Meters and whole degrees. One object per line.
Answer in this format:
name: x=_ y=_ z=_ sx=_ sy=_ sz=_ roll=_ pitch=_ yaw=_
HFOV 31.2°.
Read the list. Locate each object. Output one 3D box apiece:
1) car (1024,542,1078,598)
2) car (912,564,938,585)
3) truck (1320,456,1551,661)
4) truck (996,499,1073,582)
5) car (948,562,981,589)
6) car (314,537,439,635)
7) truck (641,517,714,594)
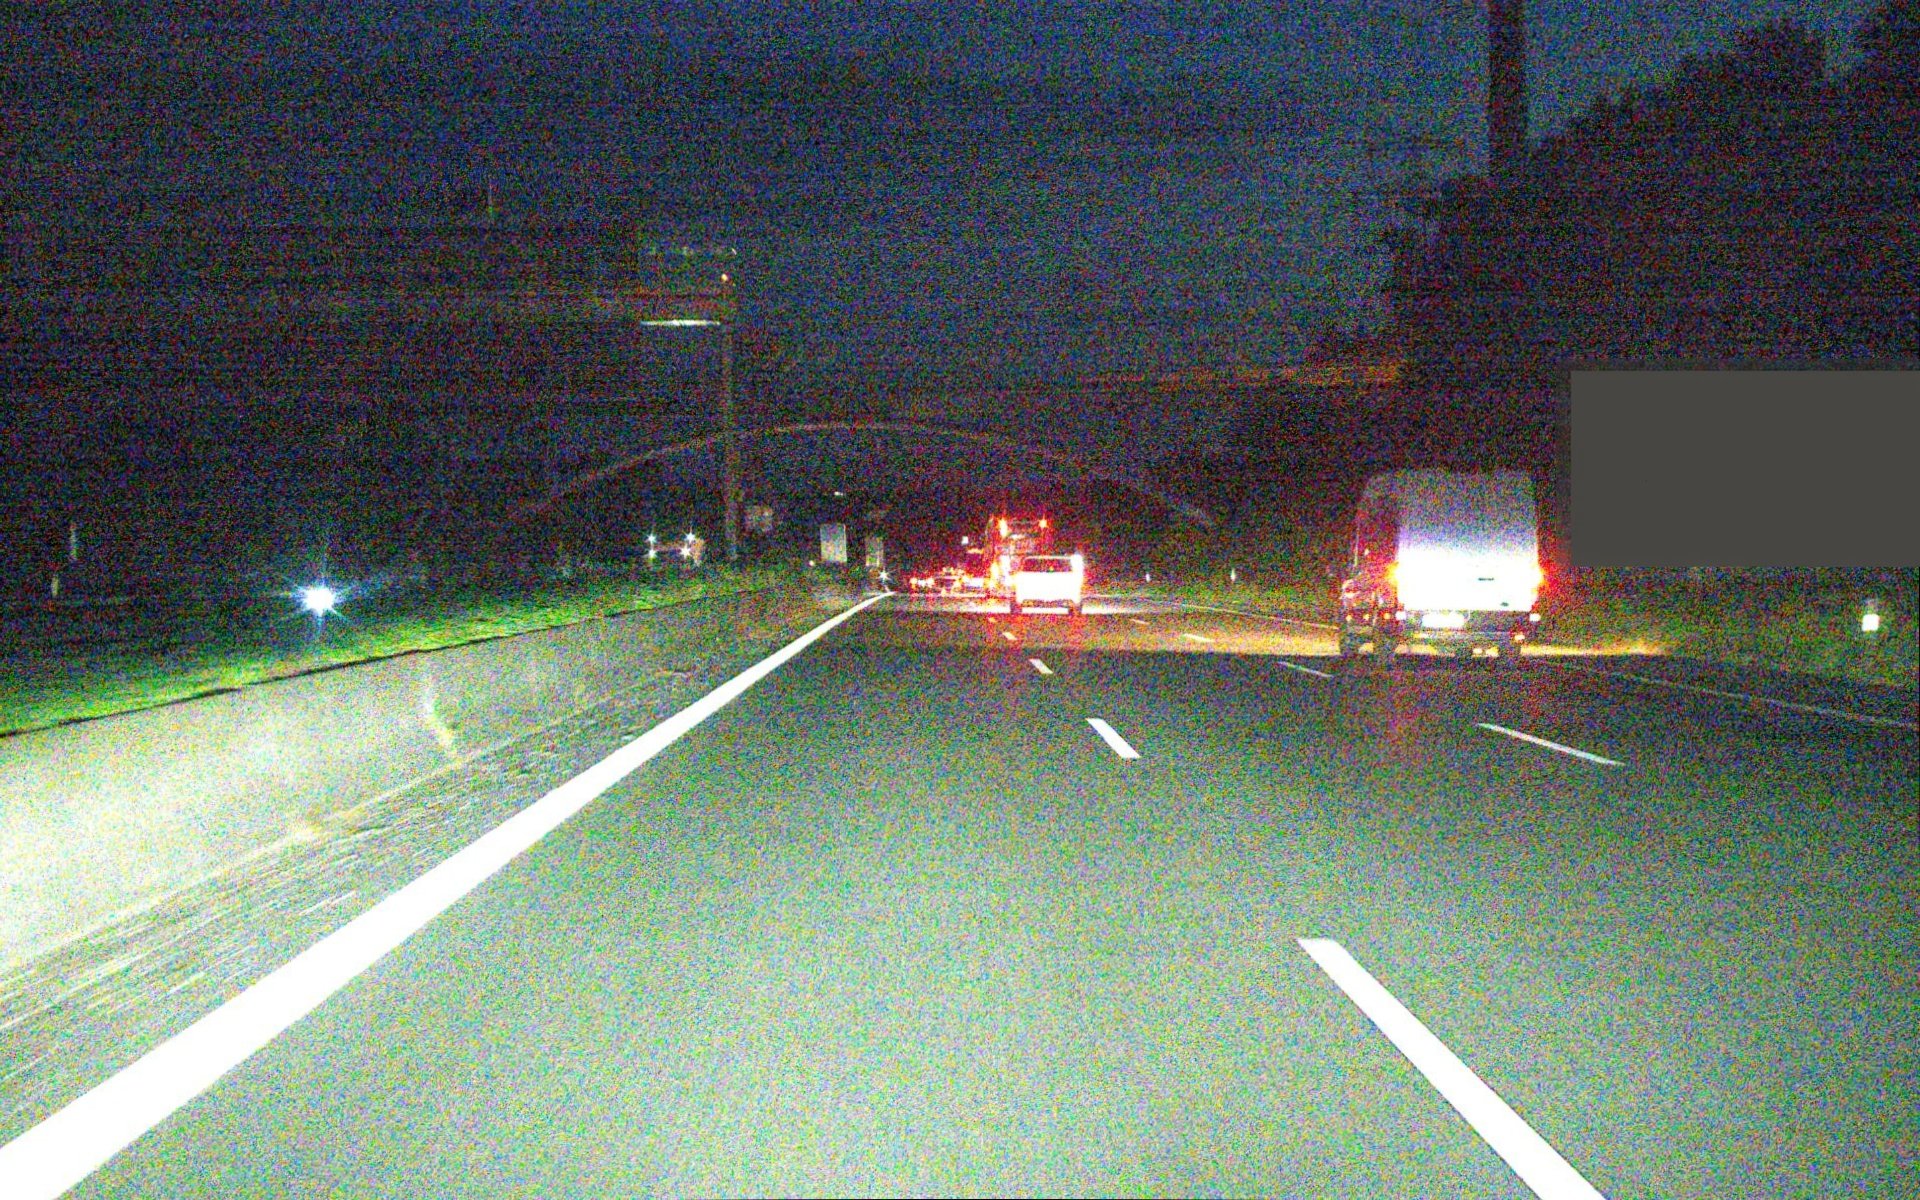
car: x=2.409 y=-0.802 z=91.689 sx=1.346 sy=1.382 sz=3.502 roll=1 pitch=2 yaw=0
car: x=-2.645 y=-1.935 z=260.004 sx=1.821 sy=1.461 sz=4.248 roll=1 pitch=2 yaw=0
truck: x=6.706 y=-0.523 z=49.333 sx=2.076 sy=2.682 sz=7.308 roll=1 pitch=0 yaw=-1
truck: x=3.126 y=-2.609 z=146.574 sx=3.044 sy=3.313 sz=10.142 roll=1 pitch=2 yaw=0
car: x=0.275 y=-1.453 z=201.944 sx=1.821 sy=1.461 sz=4.248 roll=1 pitch=2 yaw=0
car: x=-12.719 y=-0.348 z=75.215 sx=1.908 sy=1.916 sz=5.458 roll=-2 pitch=2 yaw=-2
truck: x=-18.086 y=-2.955 z=221.011 sx=3.246 sy=4.473 sz=17.440 roll=1 pitch=2 yaw=0
